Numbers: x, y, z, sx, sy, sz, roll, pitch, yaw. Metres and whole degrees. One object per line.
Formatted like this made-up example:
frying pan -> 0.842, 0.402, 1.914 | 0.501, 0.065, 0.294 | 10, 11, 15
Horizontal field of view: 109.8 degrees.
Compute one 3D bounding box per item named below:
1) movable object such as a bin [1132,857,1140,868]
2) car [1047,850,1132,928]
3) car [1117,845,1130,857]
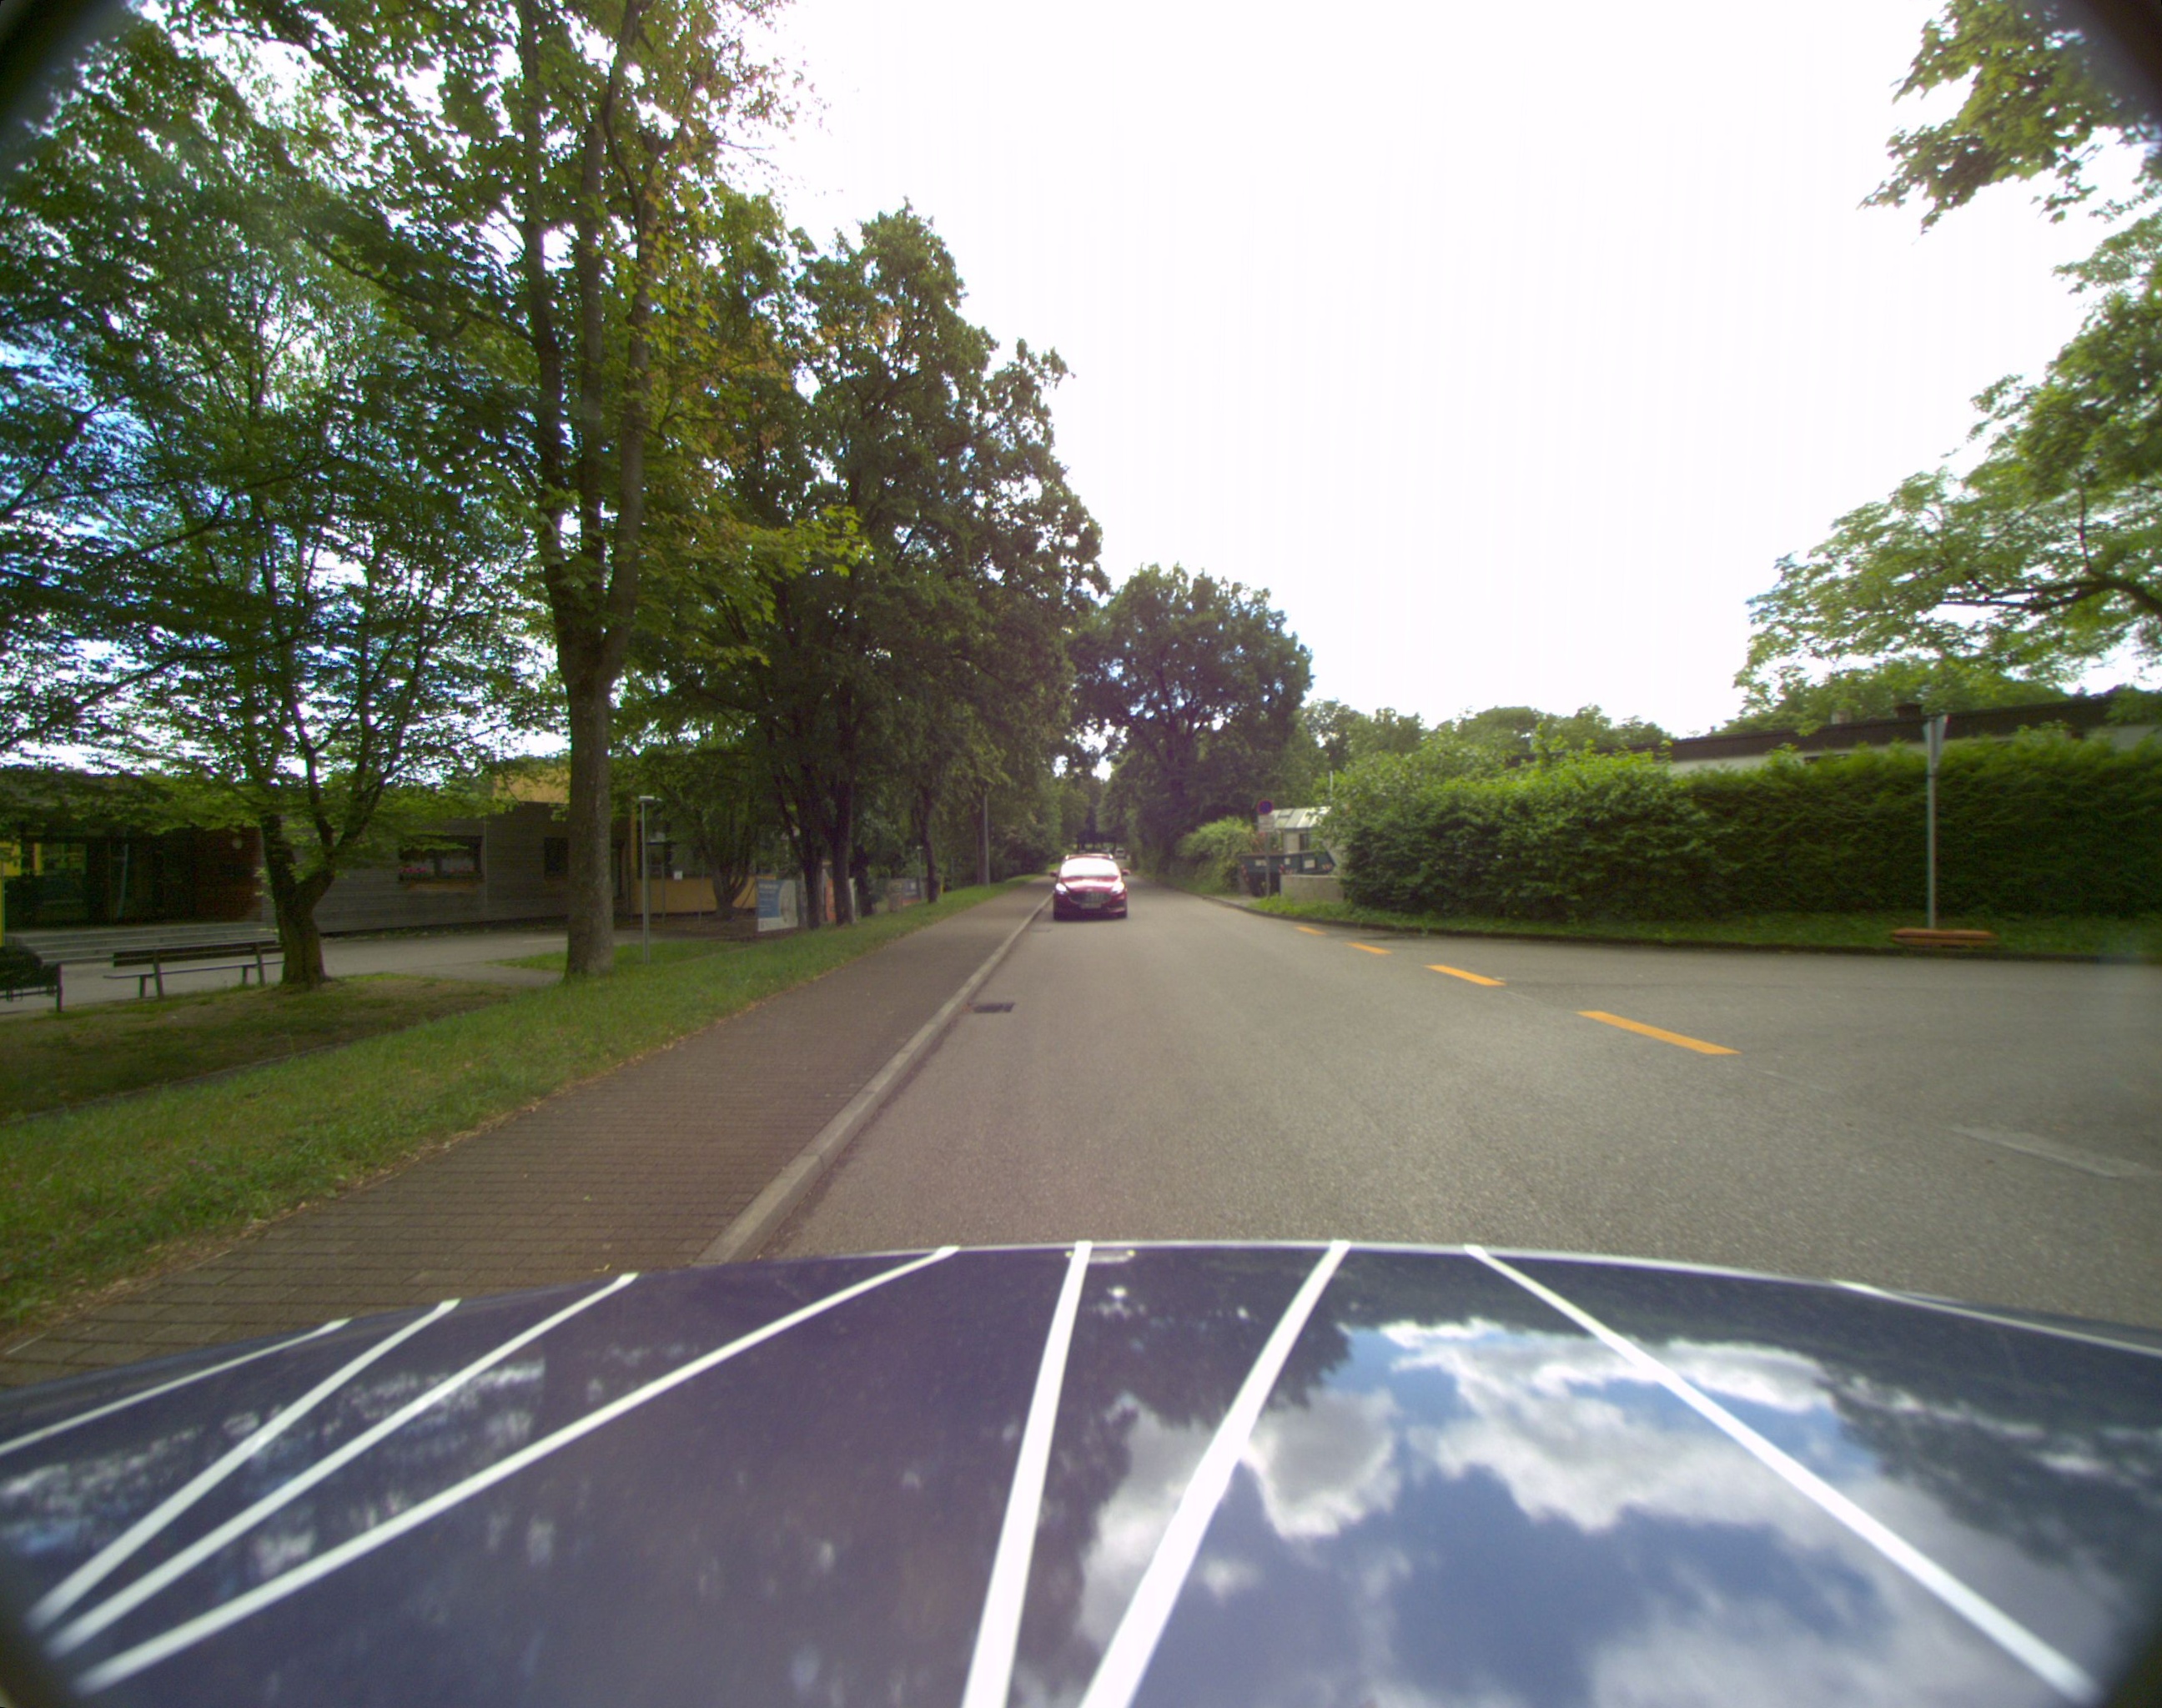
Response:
movable object such as a bin -> 5.205, 0.829, 72.128 | 0.649, 1.007, 0.632 | 0, 2, 16
car -> 0.319, 0.805, 19.704 | 1.816, 1.718, 4.001 | 1, 1, 6
car -> 7.163, -0.561, 129.027 | 1.878, 1.903, 4.430 | 0, 1, 0
